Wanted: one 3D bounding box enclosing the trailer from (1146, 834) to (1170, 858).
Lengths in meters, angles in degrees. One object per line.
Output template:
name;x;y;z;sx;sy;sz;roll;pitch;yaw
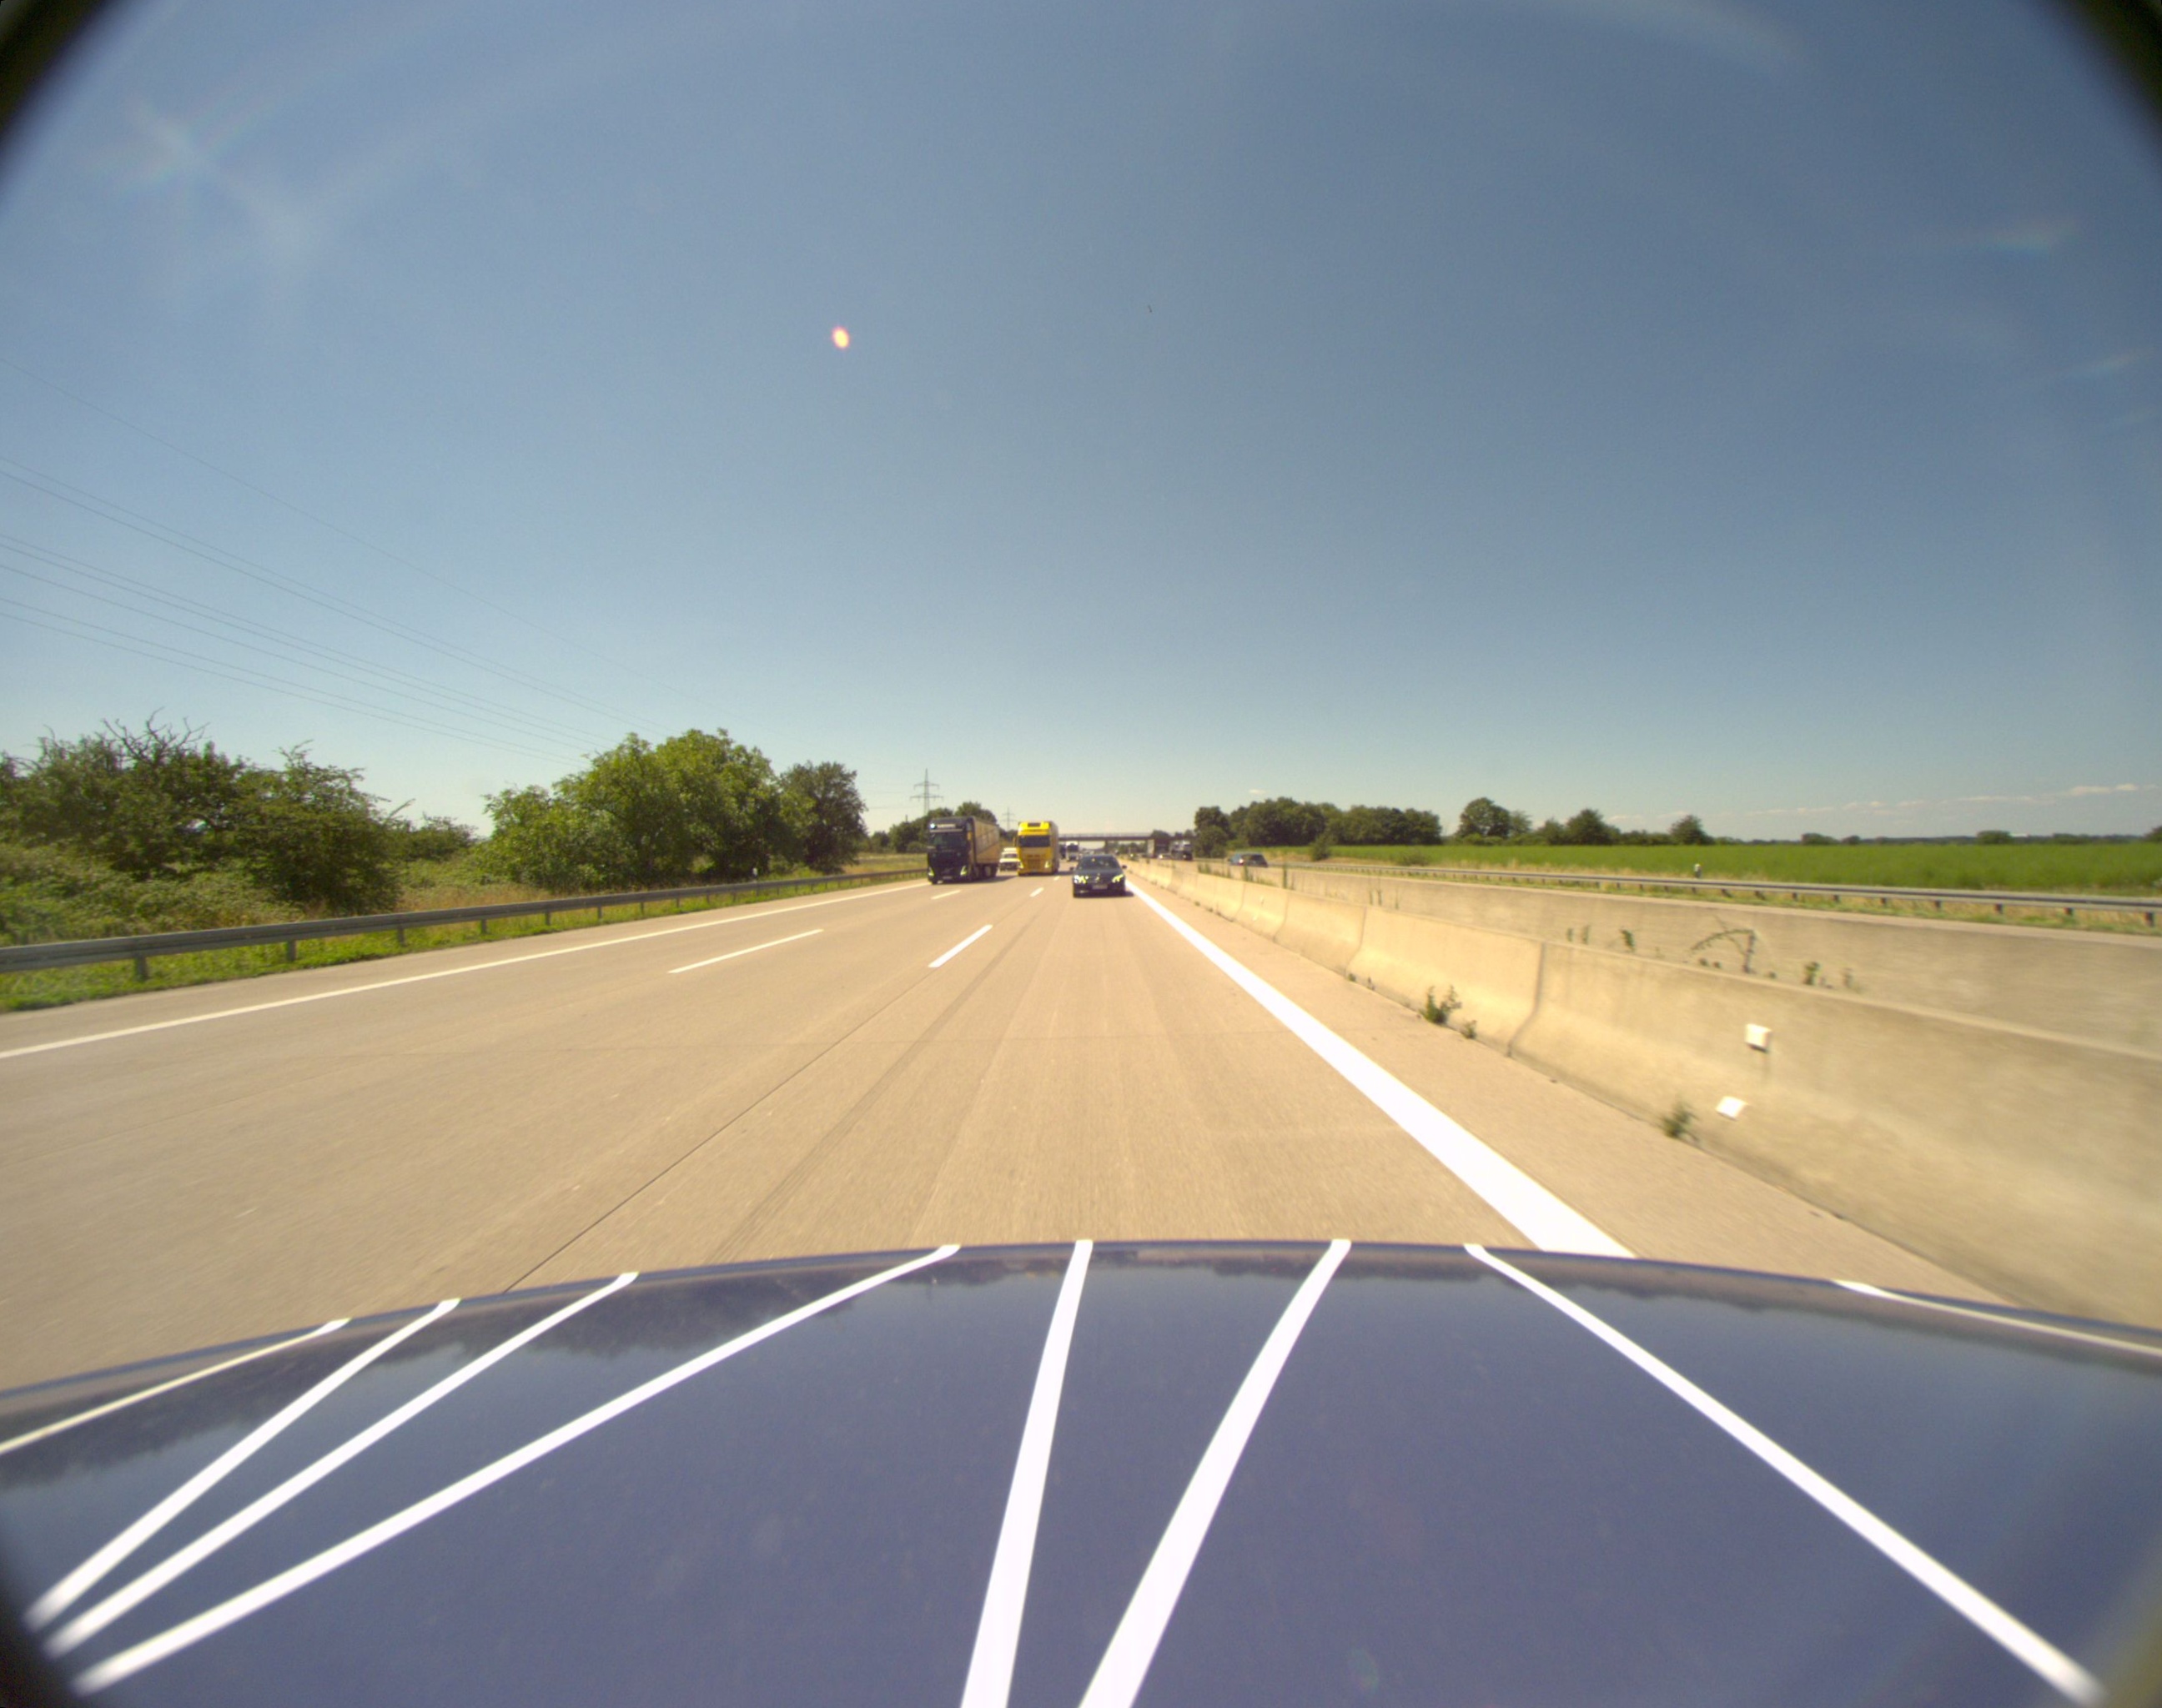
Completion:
trailer;14.982;-1.464;148.816;3.276;4.450;14.450;0;0;1

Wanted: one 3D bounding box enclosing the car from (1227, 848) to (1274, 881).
car;9.602;0.546;43.352;1.868;1.719;4.141;-2;0;2

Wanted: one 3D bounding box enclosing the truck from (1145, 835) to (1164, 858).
truck;15.018;-1.519;155.438;3.276;4.450;7.189;0;1;1

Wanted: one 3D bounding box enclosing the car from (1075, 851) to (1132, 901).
car;0.776;0.730;27.384;1.848;1.576;3.940;-2;0;1

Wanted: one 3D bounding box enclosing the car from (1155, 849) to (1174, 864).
car;10.460;0.290;96.002;1.887;1.685;4.682;-2;0;1

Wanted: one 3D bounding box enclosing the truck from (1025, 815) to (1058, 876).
truck;-2.841;-0.597;56.429;1.998;4.230;5.194;-2;1;0

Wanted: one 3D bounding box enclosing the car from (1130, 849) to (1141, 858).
car;11.273;-0.137;157.993;1.998;1.772;4.743;-2;0;1

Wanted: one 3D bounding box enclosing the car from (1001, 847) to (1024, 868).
car;-6.902;0.314;76.657;1.788;2.002;3.819;-2;0;1

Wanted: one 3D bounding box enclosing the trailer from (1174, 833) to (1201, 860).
trailer;19.541;-1.354;139.585;3.239;4.580;12.292;-2;0;1

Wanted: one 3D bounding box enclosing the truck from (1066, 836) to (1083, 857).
truck;-1.295;-1.521;153.075;2.959;4.122;6.152;-2;1;1

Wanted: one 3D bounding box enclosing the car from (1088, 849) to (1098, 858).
car;2.553;-0.214;157.799;1.998;1.781;4.301;-2;0;1

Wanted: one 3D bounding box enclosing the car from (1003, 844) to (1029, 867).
car;-6.903;0.160;81.346;2.139;2.334;5.515;-2;0;1

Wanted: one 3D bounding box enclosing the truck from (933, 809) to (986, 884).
truck;-7.233;-0.415;45.796;1.998;4.168;5.706;-2;1;1

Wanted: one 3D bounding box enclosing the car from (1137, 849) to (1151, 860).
car;10.585;0.082;127.653;1.909;1.641;4.933;-2;0;1

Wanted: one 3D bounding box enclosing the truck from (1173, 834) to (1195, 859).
truck;19.675;-1.346;145.565;3.239;4.580;6.250;-2;1;1

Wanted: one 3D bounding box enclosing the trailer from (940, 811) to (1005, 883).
trailer;-7.145;-0.458;52.270;1.998;4.168;14.745;-2;0;1

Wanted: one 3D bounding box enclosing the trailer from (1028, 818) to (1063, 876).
trailer;-2.795;-0.576;63.704;1.998;4.230;15.198;-2;0;0
